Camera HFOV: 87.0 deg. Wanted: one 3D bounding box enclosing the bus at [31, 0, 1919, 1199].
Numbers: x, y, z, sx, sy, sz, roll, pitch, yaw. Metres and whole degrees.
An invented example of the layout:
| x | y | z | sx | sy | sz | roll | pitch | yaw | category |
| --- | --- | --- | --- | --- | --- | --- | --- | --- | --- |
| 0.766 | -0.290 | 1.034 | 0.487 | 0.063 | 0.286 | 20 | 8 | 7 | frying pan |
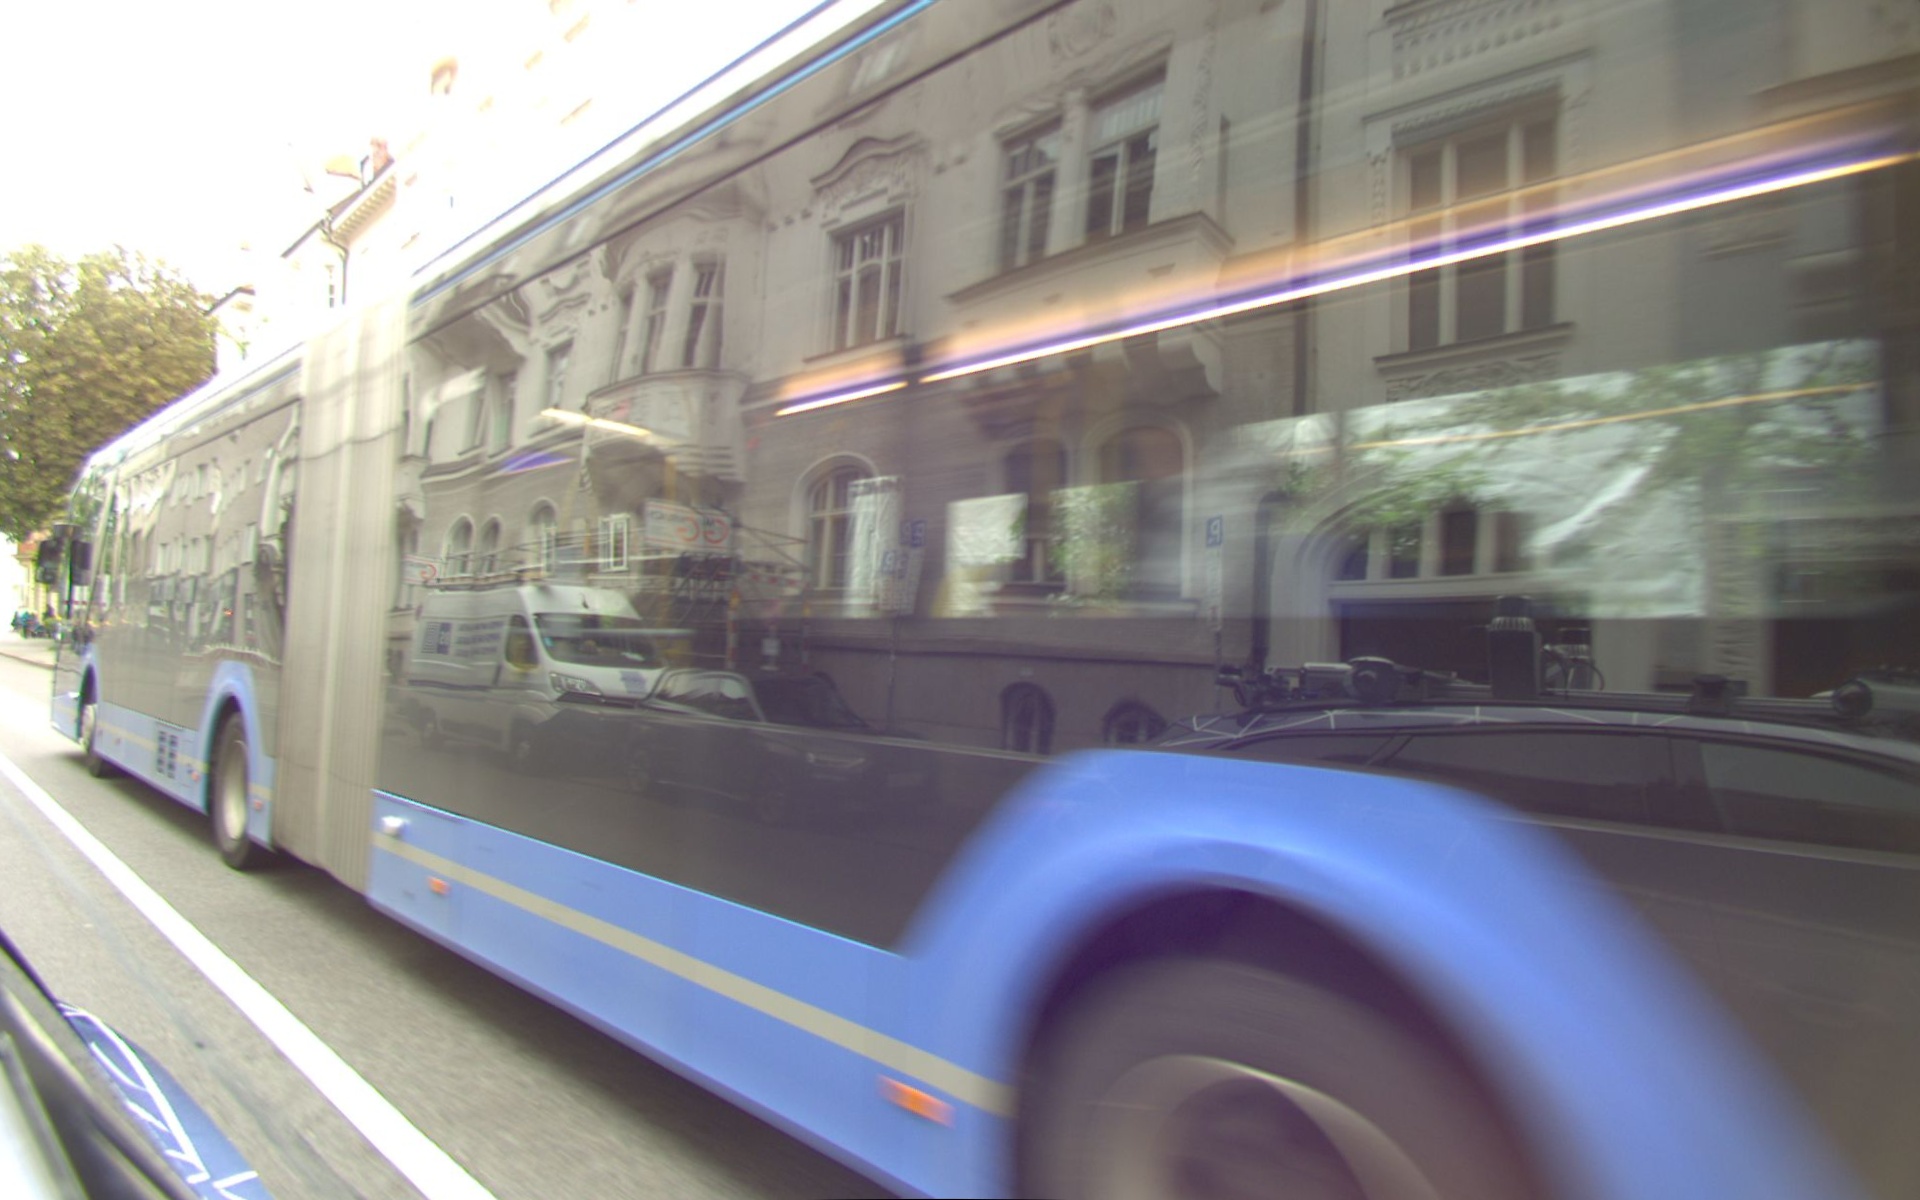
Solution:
| x | y | z | sx | sy | sz | roll | pitch | yaw | category |
| --- | --- | --- | --- | --- | --- | --- | --- | --- | --- |
| -2.375 | -0.323 | 6.200 | 18.054 | 3.236 | 3.137 | -1 | -4 | 42 | bus |

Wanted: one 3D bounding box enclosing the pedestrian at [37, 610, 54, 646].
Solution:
| x | y | z | sx | sy | sz | roll | pitch | yaw | category |
| --- | --- | --- | --- | --- | --- | --- | --- | --- | --- |
| -51.493 | 1.574 | 56.993 | 0.662 | 1.971 | 0.617 | -1 | -2 | 42 | pedestrian |

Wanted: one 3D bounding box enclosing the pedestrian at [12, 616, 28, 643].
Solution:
| x | y | z | sx | sy | sz | roll | pitch | yaw | category |
| --- | --- | --- | --- | --- | --- | --- | --- | --- | --- |
| -54.465 | 1.704 | 58.630 | 0.662 | 1.601 | 0.617 | -1 | -2 | 42 | pedestrian |

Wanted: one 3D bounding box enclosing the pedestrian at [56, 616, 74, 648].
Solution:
| x | y | z | sx | sy | sz | roll | pitch | yaw | category |
| --- | --- | --- | --- | --- | --- | --- | --- | --- | --- |
| -46.707 | 1.658 | 52.816 | 0.662 | 1.633 | 0.617 | -1 | -2 | 42 | pedestrian |

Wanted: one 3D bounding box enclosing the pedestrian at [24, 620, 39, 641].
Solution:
| x | y | z | sx | sy | sz | roll | pitch | yaw | category |
| --- | --- | --- | --- | --- | --- | --- | --- | --- | --- |
| -53.905 | 1.775 | 58.762 | 0.577 | 1.253 | 0.539 | -1 | -2 | 42 | pedestrian |
